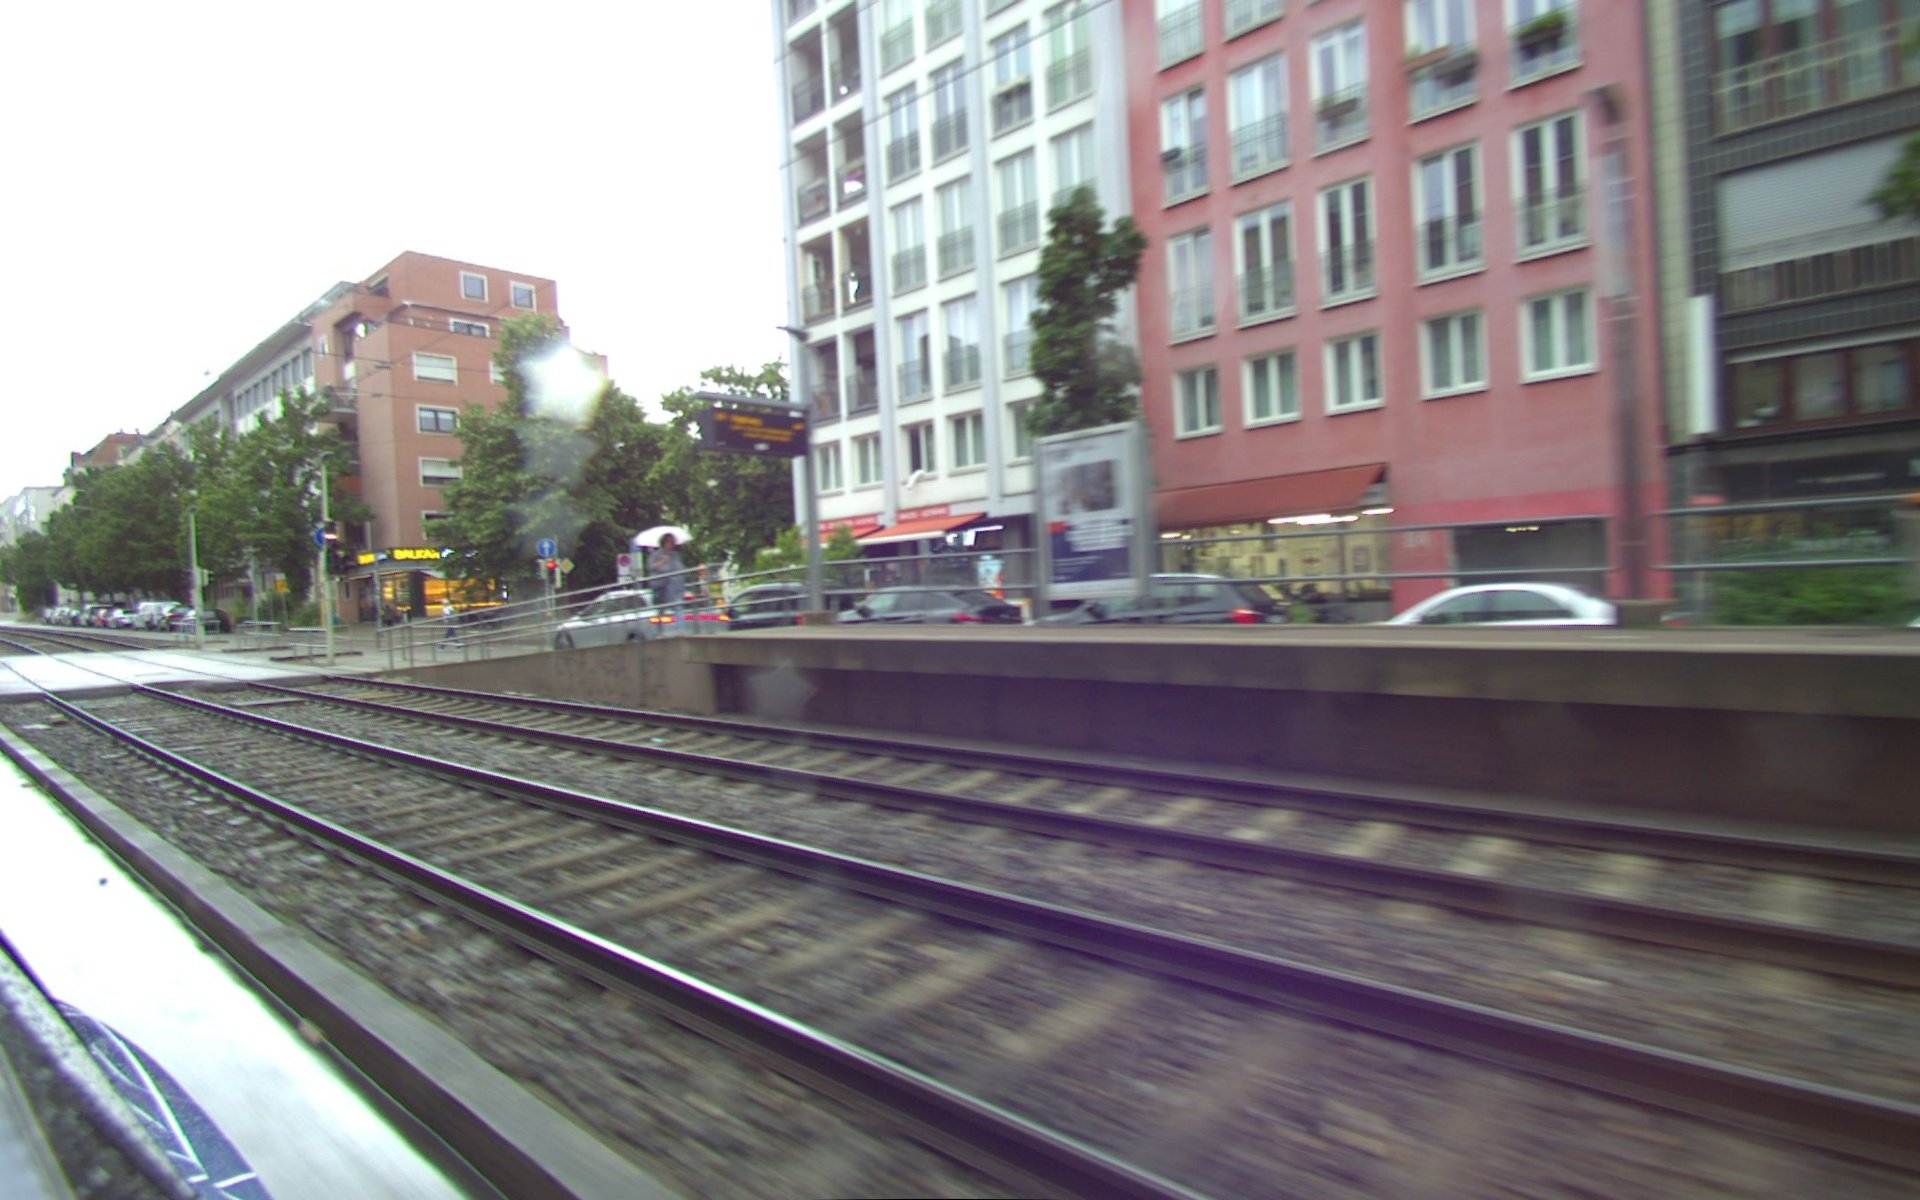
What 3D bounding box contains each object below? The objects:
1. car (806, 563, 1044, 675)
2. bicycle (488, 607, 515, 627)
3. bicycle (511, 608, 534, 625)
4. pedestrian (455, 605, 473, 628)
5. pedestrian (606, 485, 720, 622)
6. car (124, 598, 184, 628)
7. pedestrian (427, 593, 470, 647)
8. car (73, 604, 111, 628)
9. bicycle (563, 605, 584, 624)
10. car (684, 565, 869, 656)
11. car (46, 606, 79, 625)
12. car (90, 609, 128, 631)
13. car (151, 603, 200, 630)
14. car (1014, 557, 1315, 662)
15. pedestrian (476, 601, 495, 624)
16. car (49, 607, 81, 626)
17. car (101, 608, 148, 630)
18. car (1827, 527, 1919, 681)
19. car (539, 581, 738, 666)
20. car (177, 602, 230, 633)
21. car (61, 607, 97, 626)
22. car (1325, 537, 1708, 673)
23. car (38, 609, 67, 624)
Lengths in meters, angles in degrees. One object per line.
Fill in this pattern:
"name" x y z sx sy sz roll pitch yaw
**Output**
"car" -0.746 0.330 19.024 4.376 1.872 1.784 -1 1 40
"bicycle" -22.238 0.825 49.058 1.873 0.966 0.475 0 1 42
"bicycle" -21.547 0.819 49.831 1.646 0.822 0.335 0 1 42
"pedestrian" -25.318 0.839 51.682 0.668 1.186 0.609 -2 1 -43
"pedestrian" -4.638 -0.697 15.786 1.383 2.029 1.104 0 1 42
"car" -52.812 0.847 66.304 5.251 1.858 1.889 -1 2 38
"pedestrian" -17.067 0.655 33.776 0.983 1.709 0.812 -1 3 34
"car" -69.877 1.274 81.415 4.430 1.830 1.656 0 2 41
"bicycle" -19.779 0.741 51.772 1.647 0.910 0.335 0 1 45
"car" -4.183 0.223 22.723 4.317 1.872 1.690 -1 1 40
"car" -82.512 1.404 93.010 4.336 1.596 1.641 0 2 41
"car" -65.526 1.525 77.882 3.802 1.550 1.622 0 2 41
"car" -48.159 1.008 62.092 4.371 1.548 1.621 0 2 43
"car" 3.143 0.143 16.017 4.315 1.447 1.823 -1 1 39
"pedestrian" -24.895 0.637 53.116 0.601 1.186 0.676 -1 1 10
"car" -78.228 1.457 88.418 4.022 1.549 1.621 0 2 43
"car" -59.661 1.336 72.251 4.526 1.473 1.675 0 2 39
"car" 10.622 -0.011 9.273 3.975 1.447 1.657 -1 1 39
"car" -6.972 0.475 21.620 5.020 1.590 1.787 -1 1 43
"car" -43.524 0.979 58.199 4.371 1.636 1.621 0 2 43
"car" -74.105 1.374 85.114 4.727 1.451 1.622 0 2 41
"car" 6.831 0.060 12.641 3.975 1.447 1.553 -1 1 39
"car" -86.893 1.575 96.906 4.458 1.385 1.695 0 2 44
